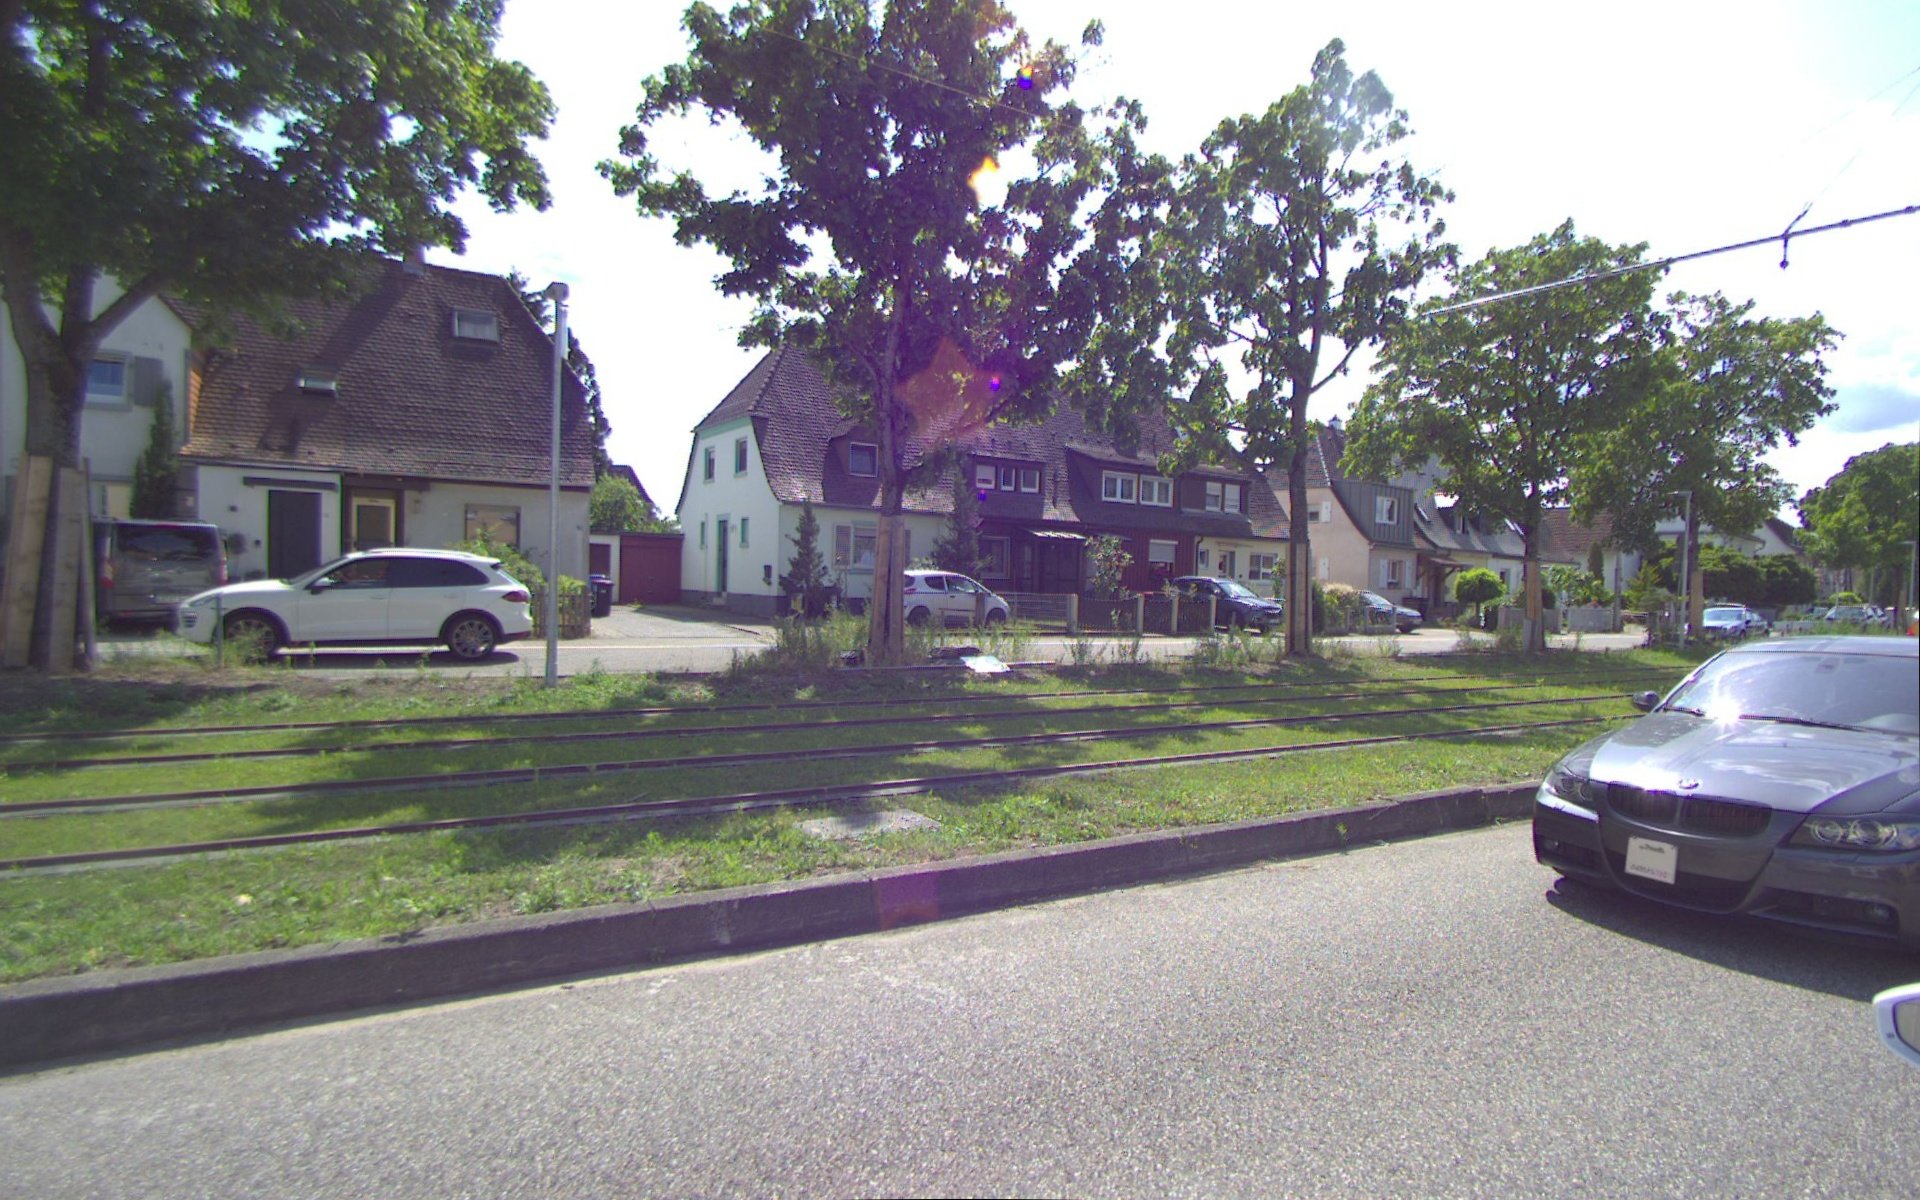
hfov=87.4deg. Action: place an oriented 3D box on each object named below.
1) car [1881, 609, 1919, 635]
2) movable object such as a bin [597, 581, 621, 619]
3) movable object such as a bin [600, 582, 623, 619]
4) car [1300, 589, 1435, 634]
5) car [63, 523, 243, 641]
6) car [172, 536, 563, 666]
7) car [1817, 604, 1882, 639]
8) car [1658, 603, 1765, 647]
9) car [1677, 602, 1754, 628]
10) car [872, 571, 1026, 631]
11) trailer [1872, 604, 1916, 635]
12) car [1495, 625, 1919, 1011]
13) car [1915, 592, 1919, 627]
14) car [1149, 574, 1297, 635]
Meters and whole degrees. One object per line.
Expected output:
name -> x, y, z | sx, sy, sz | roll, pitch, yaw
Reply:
car -> 58.741, 1.335, 62.417 | 4.531, 1.525, 1.713 | 1, 0, -41
movable object such as a bin -> -9.323, 0.002, 26.678 | 0.494, 0.990, 0.449 | 1, 1, -30
movable object such as a bin -> -9.436, 0.012, 27.170 | 0.494, 0.990, 0.449 | 1, 1, -30
car -> 15.568, 0.416, 38.587 | 1.907, 1.544, 4.438 | 1, 1, -36
car -> -15.080, -0.390, 18.717 | 3.838, 1.922, 1.933 | 5, 3, 40
car -> -9.122, 0.037, 15.893 | 5.025, 1.792, 1.871 | 1, 1, -31
car -> 43.041, 1.023, 48.580 | 4.531, 1.608, 1.795 | 1, 0, -41
car -> 27.230, 0.890, 36.355 | 4.768, 1.425, 1.806 | 1, 1, -37
car -> 51.481, 1.012, 68.471 | 1.782, 1.592, 3.948 | 0, 1, -43
car -> -0.269, 0.028, 27.711 | 4.004, 1.538, 1.716 | 1, 1, -36
trailer -> 54.382, 1.141, 58.472 | 3.347, 1.700, 1.551 | 1, 1, -42
car -> 5.026, 0.898, 5.652 | 4.075, 1.407, 1.715 | 1, 1, -32
car -> 80.158, 0.803, 82.784 | 2.052, 2.757, 6.959 | 0, 0, 44
car -> 8.672, 0.111, 33.453 | 2.045, 1.861, 4.438 | 1, 1, -36
